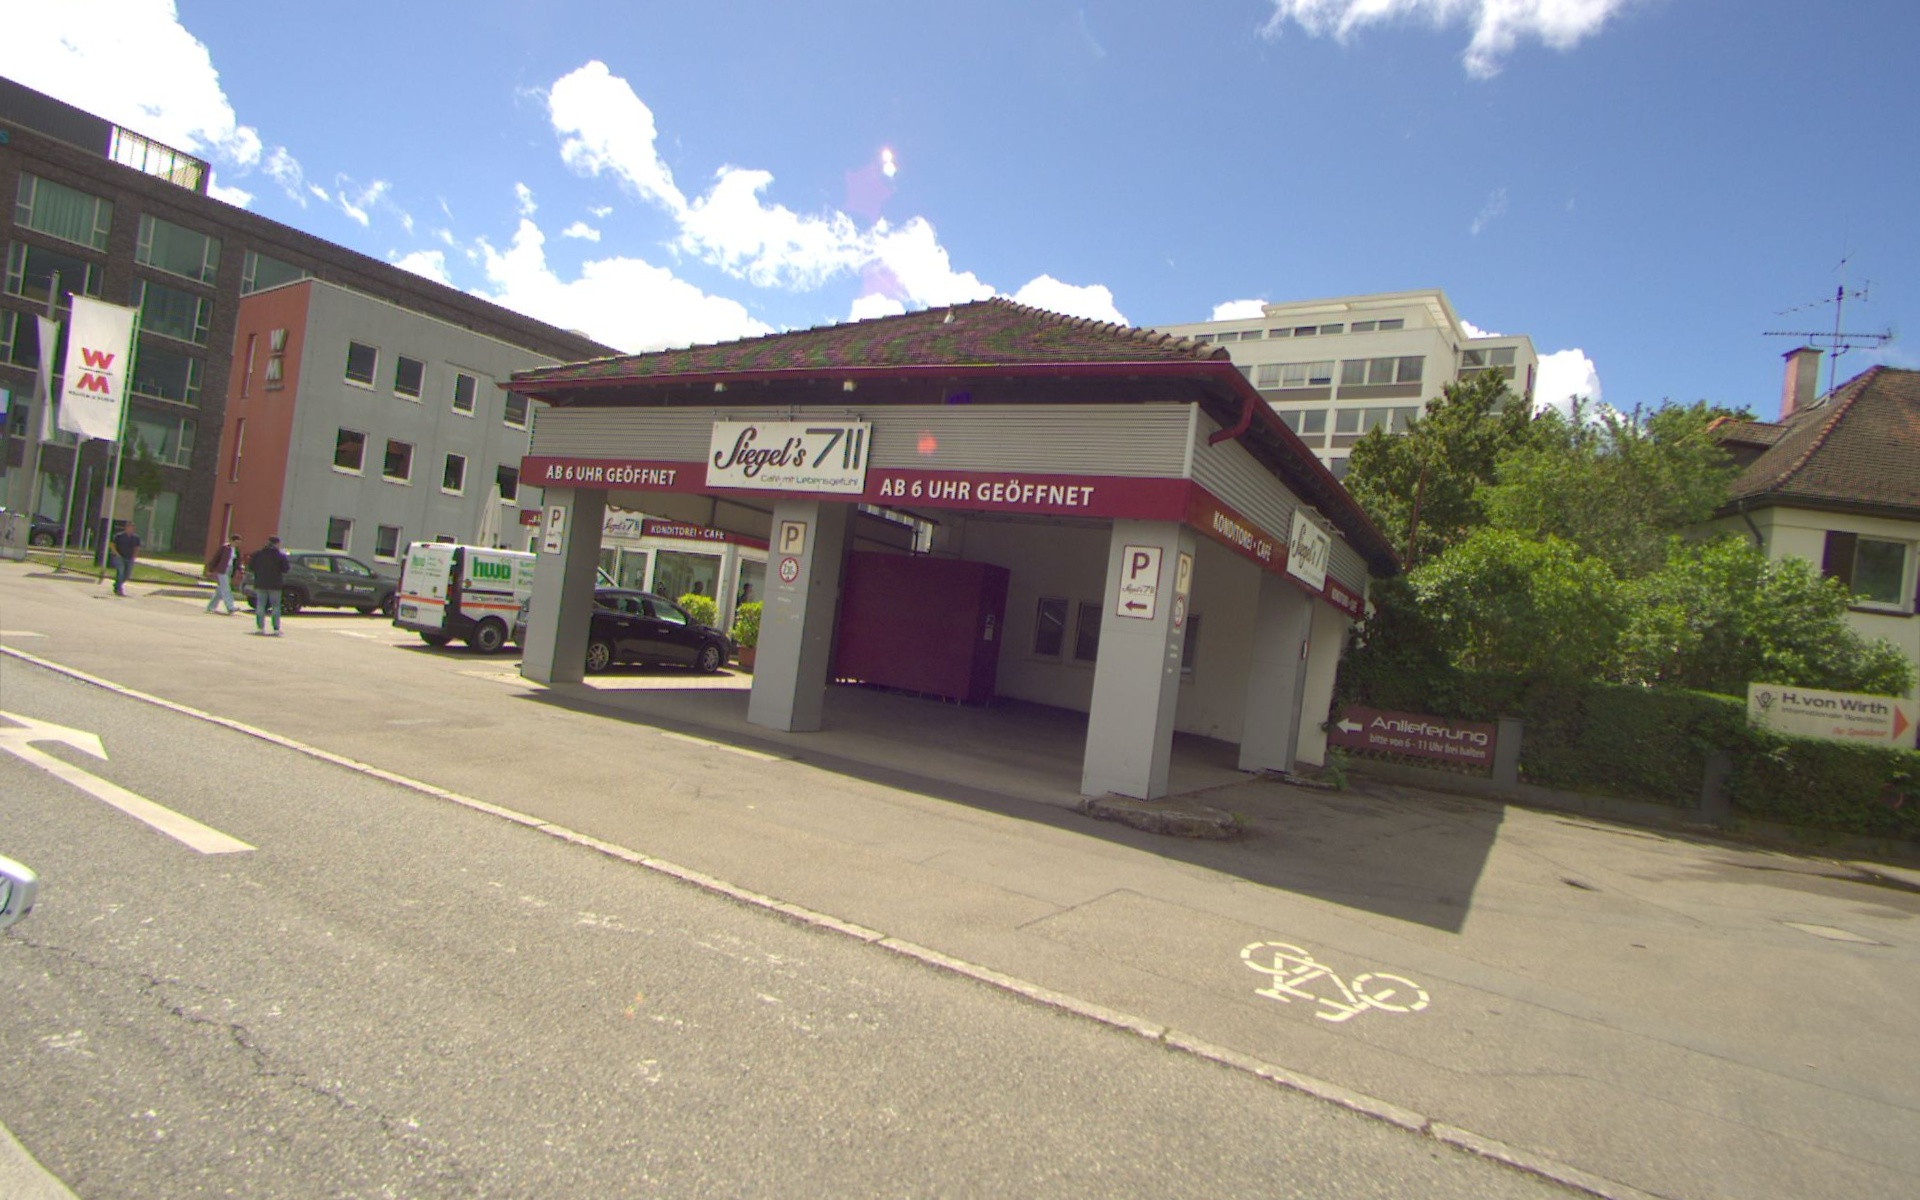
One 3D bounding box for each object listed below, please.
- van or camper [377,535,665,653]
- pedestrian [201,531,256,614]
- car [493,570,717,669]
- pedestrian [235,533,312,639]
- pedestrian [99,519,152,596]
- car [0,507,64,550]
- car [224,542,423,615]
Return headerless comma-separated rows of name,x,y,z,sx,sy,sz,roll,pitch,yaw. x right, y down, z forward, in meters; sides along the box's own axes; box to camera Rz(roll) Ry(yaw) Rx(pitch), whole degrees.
van or camper,-8.703,-0.024,20.436,2.176,1.982,4.901,5,0,32
pedestrian,-16.174,-0.600,22.261,0.743,1.727,0.566,8,-1,-32
car,-6.353,0.352,18.321,1.804,1.505,3.453,5,1,29
pedestrian,-12.035,-0.240,17.638,0.727,1.727,0.713,6,-1,32
pedestrian,-19.968,-1.005,24.082,0.707,1.727,0.625,8,-1,-31
car,-43.392,-3.405,44.851,1.966,1.637,4.649,6,-2,30
car,-15.420,-0.489,24.529,1.734,1.505,3.665,5,2,33
